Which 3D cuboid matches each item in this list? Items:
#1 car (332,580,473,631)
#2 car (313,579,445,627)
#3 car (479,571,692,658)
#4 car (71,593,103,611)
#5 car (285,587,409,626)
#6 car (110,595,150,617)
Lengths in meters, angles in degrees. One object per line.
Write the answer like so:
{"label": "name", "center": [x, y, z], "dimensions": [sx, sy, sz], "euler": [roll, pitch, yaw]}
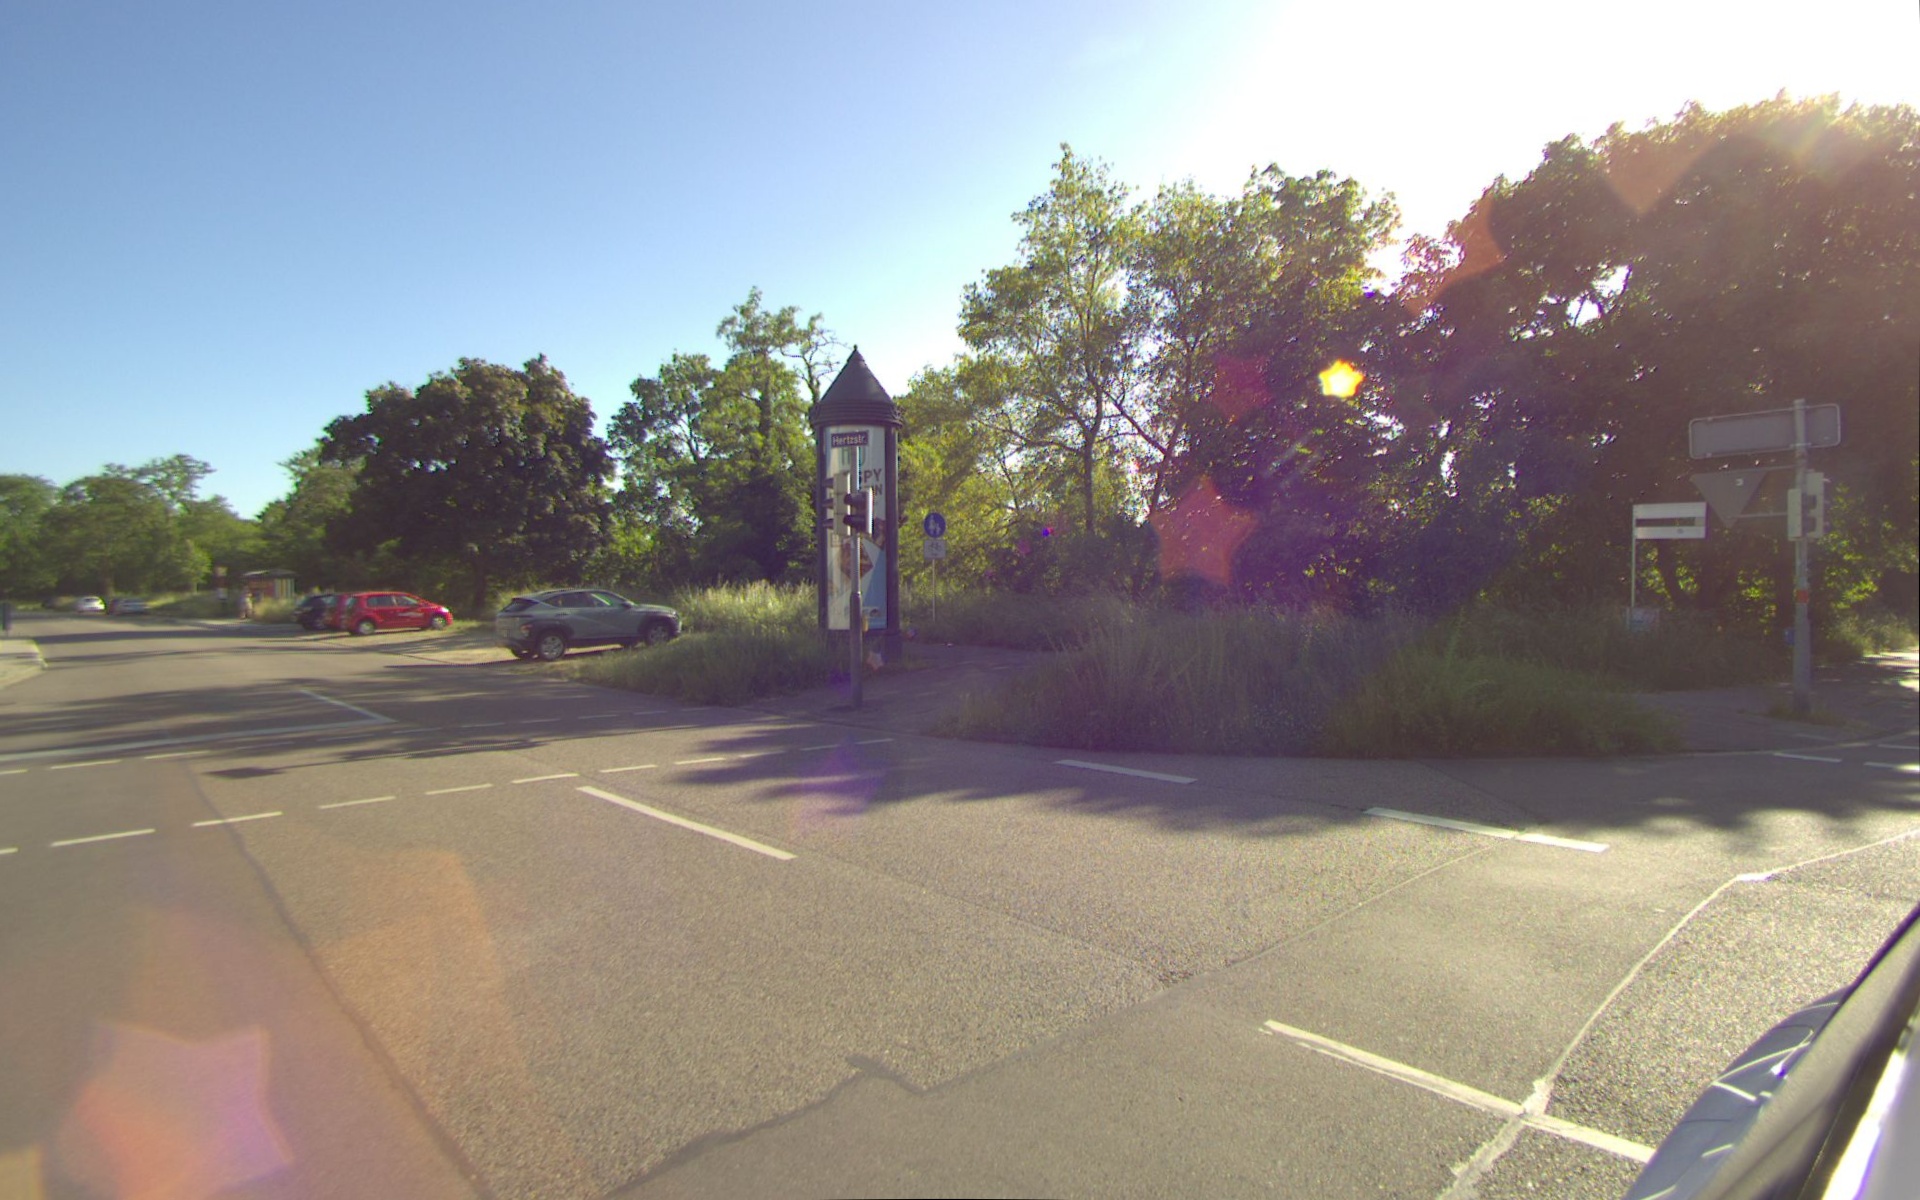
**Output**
{"label": "car", "center": [-20.460, 0.186, 37.250], "dimensions": [4.130, 1.550, 1.864], "euler": [-6, 2, -44]}
{"label": "car", "center": [-22.863, 0.092, 39.893], "dimensions": [4.130, 1.550, 1.864], "euler": [-6, 2, -44]}
{"label": "car", "center": [-8.920, 0.305, 24.348], "dimensions": [4.378, 1.670, 1.864], "euler": [-6, 2, -44]}
{"label": "car", "center": [-86.667, 0.241, 100.444], "dimensions": [4.180, 1.550, 1.842], "euler": [-2, 2, 43]}
{"label": "car", "center": [-25.492, 0.234, 42.171], "dimensions": [4.127, 1.551, 1.864], "euler": [0, 0, -44]}
{"label": "car", "center": [-66.465, 0.511, 81.052], "dimensions": [4.180, 1.550, 1.842], "euler": [-2, 2, 43]}
